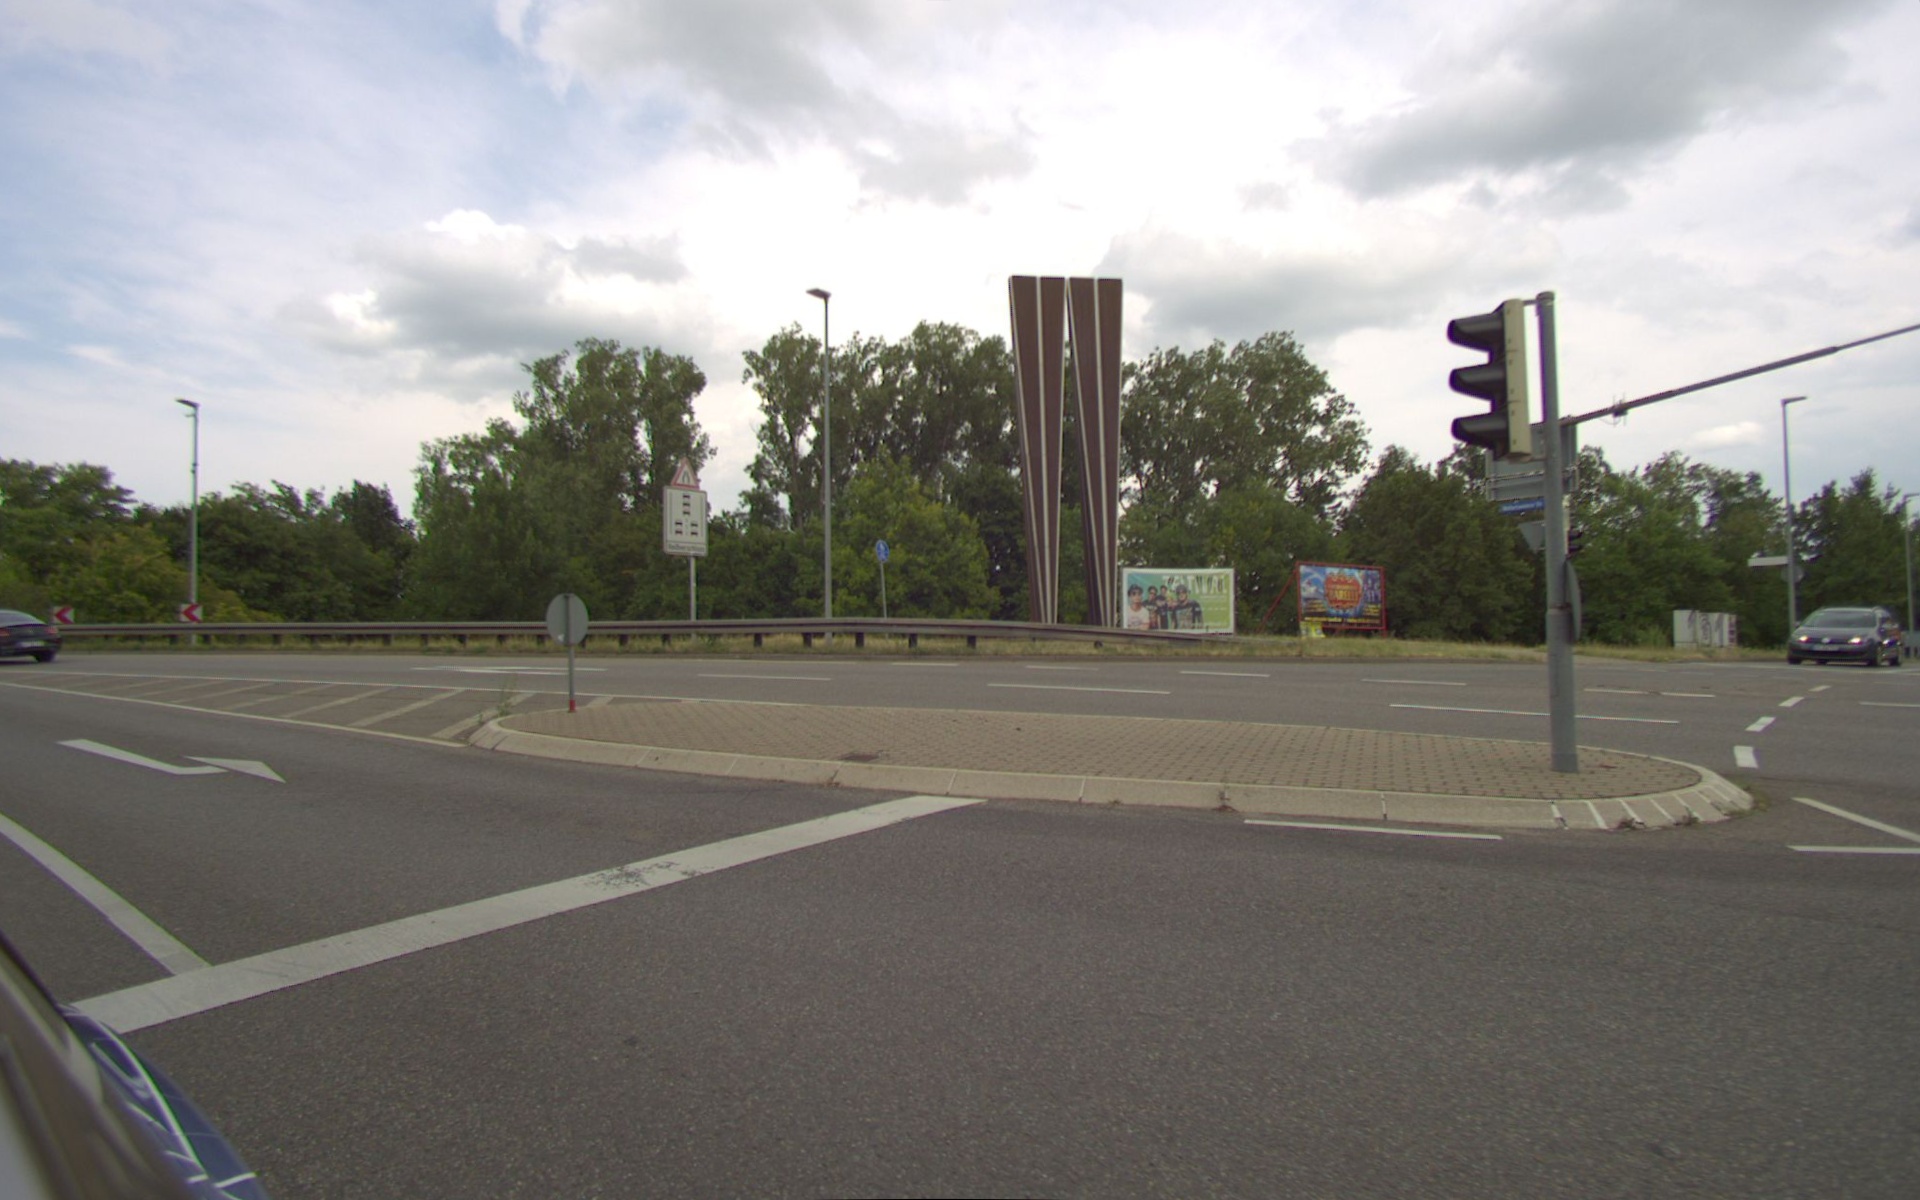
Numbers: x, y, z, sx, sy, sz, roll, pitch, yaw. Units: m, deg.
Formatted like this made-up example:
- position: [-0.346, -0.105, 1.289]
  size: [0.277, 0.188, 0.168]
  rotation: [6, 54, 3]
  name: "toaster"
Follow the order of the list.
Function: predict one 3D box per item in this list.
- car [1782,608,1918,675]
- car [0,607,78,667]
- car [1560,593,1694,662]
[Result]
- position: [22.235, 0.963, 25.228]
  size: [4.310, 1.500, 2.003]
  rotation: [0, -1, -42]
  name: "car"
- position: [-25.502, 0.938, 26.353]
  size: [4.622, 1.466, 1.985]
  rotation: [-1, -1, 22]
  name: "car"
- position: [18.855, 0.723, 28.551]
  size: [4.189, 1.796, 1.931]
  rotation: [0, -1, -38]
  name: "car"
